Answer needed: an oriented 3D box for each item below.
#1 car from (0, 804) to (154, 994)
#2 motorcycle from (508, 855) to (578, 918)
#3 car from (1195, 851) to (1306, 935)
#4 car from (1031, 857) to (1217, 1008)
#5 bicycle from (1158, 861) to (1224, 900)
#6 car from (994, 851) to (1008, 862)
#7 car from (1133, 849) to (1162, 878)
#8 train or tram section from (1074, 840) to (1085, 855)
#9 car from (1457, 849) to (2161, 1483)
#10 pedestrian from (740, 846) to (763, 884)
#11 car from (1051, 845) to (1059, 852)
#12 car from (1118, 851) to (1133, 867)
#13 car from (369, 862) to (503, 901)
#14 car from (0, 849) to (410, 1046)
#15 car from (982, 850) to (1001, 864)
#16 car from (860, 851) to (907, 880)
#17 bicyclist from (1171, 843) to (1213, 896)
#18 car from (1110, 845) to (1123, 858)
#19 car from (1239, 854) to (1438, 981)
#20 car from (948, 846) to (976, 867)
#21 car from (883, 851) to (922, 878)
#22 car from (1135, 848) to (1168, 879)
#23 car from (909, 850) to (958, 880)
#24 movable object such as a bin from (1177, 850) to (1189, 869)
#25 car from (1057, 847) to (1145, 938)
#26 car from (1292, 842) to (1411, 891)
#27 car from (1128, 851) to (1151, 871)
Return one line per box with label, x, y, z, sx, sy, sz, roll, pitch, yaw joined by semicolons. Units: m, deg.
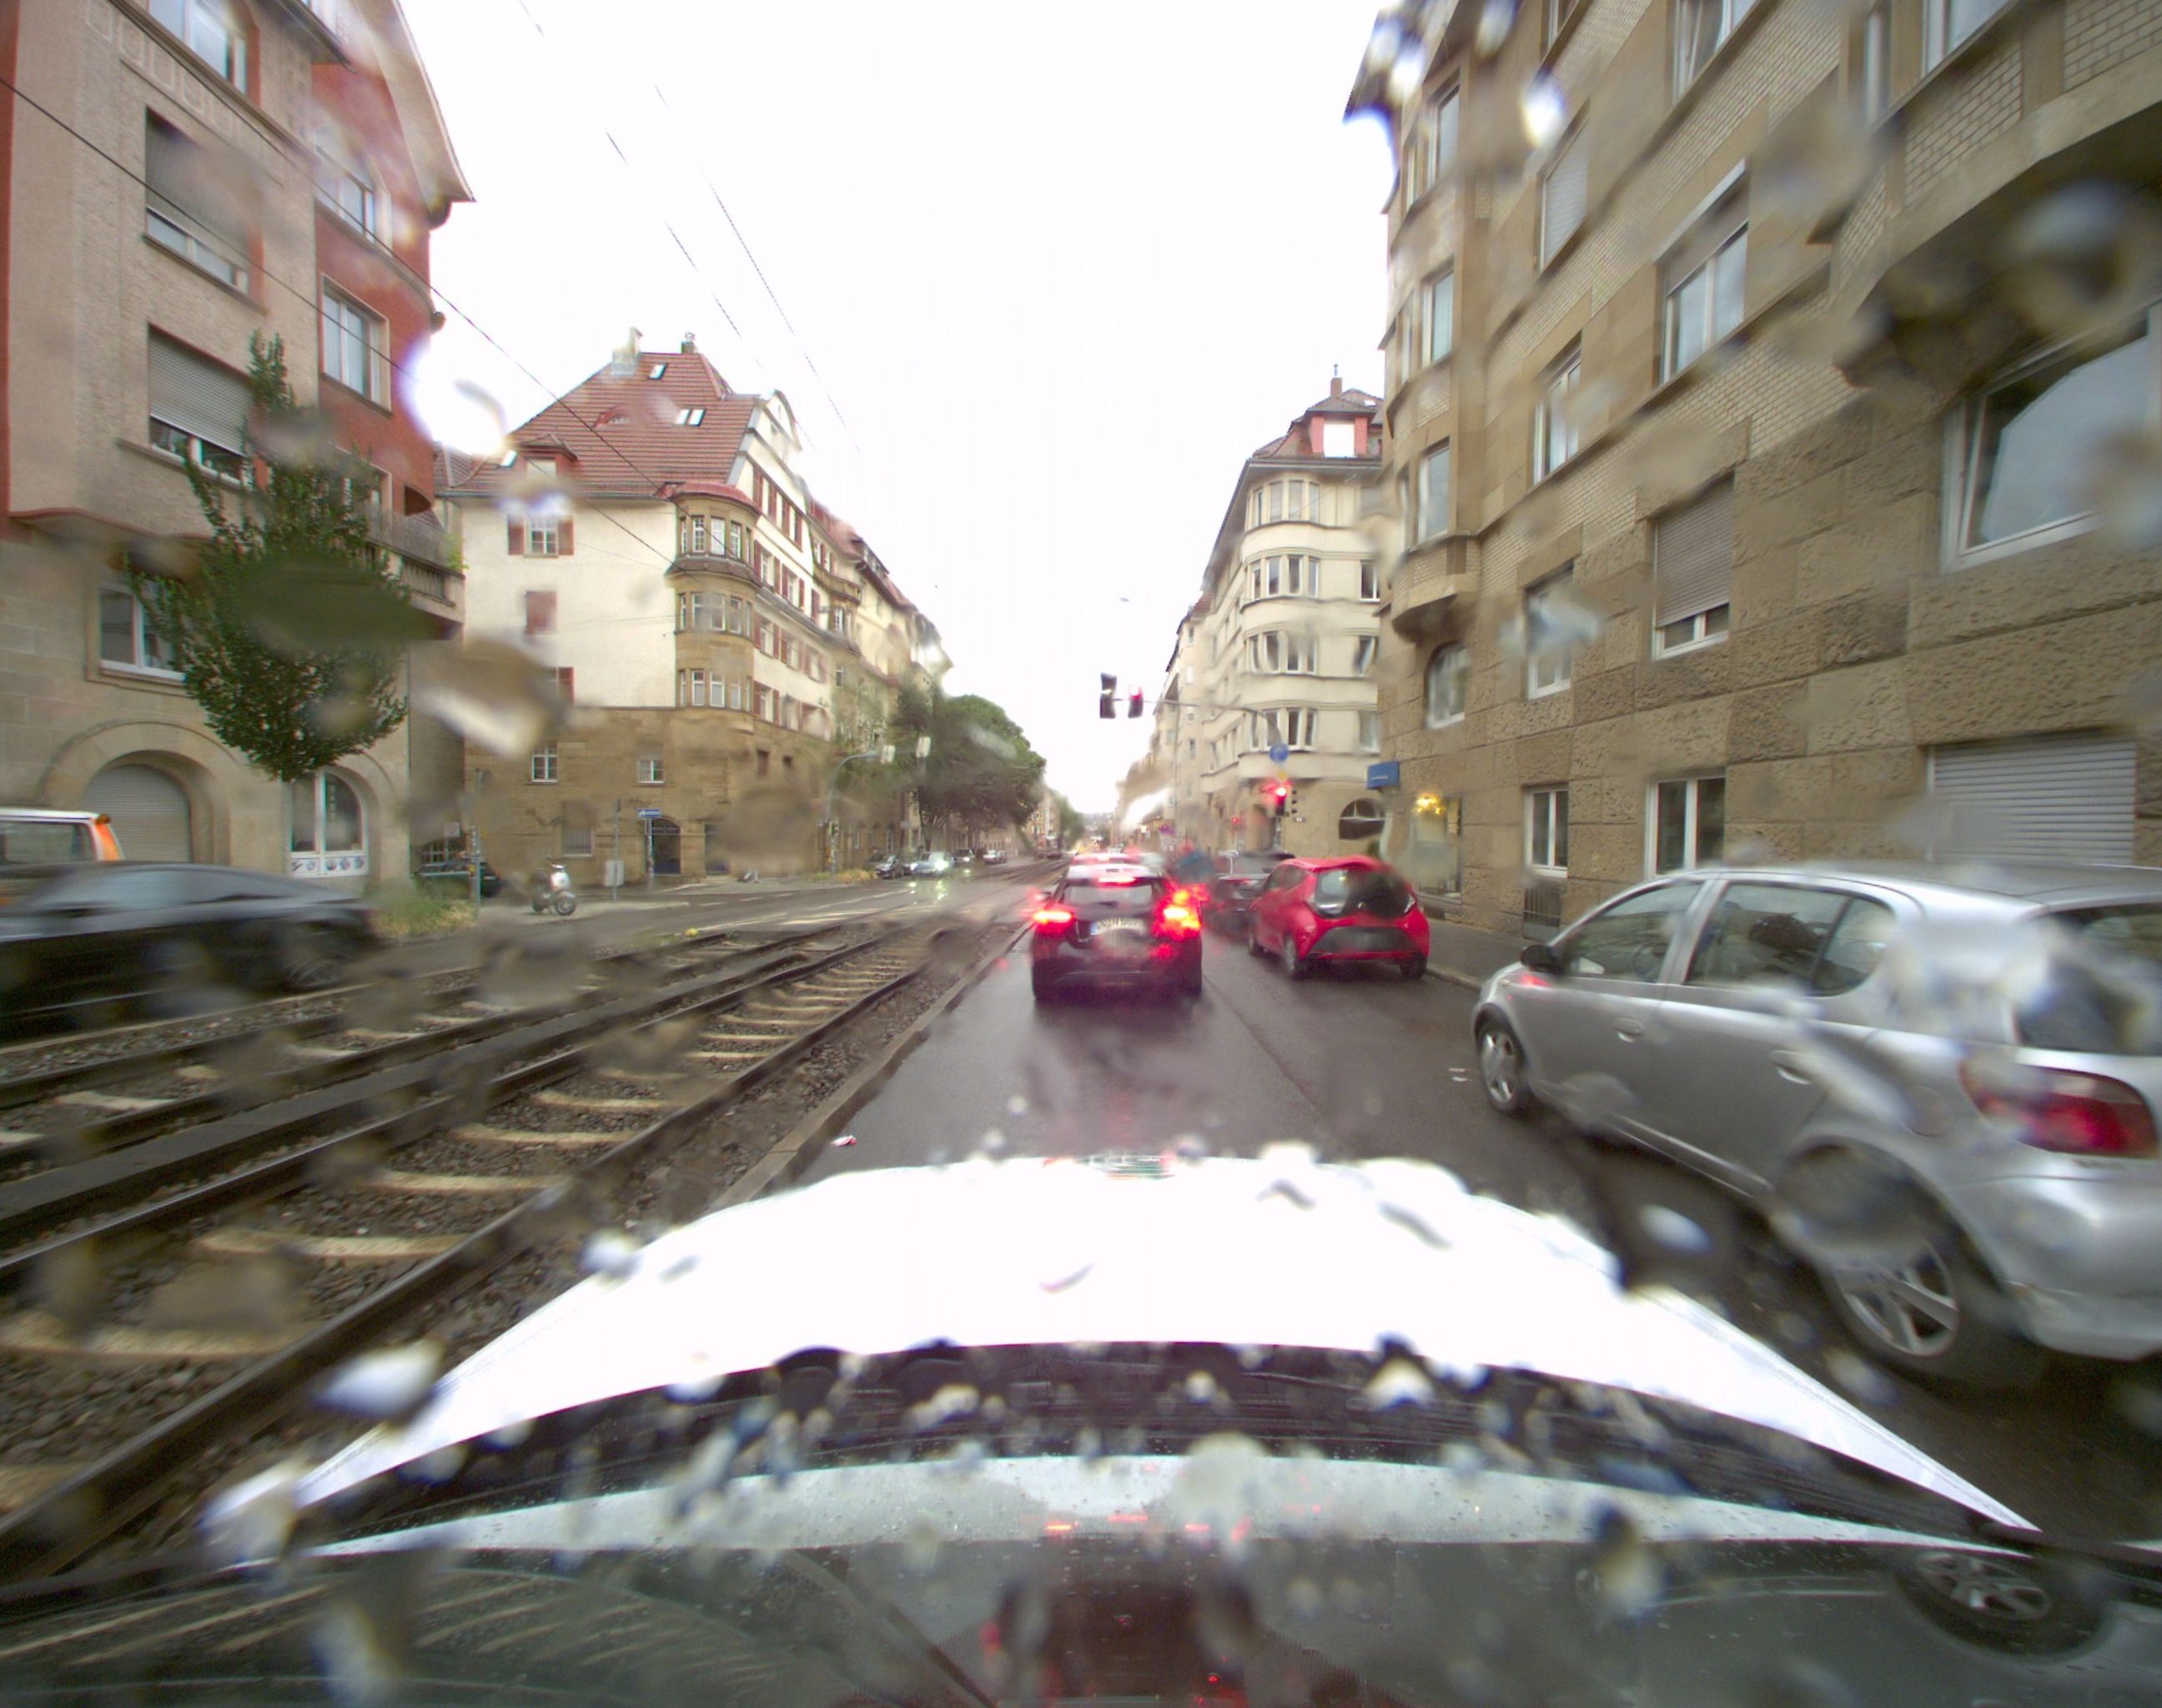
car;-12.105;0.469;7.677;1.725;1.975;4.341;0;-1;0
motorcycle;-12.049;0.715;18.233;1.577;1.365;0.628;-1;-1;28
car;3.261;0.690;16.276;1.539;1.486;3.831;0;0;2
car;0.484;0.781;10.030;1.822;1.458;4.105;0;0;2
bicycle;3.436;0.828;25.545;2.020;1.186;0.828;-1;-1;5
car;-9.776;0.329;99.480;1.443;1.331;3.271;0;-1;0
car;3.861;0.538;47.642;1.539;1.590;3.549;0;0;2
train or tram section;-0.387;-1.768;231.052;2.772;3.861;10.433;0;-1;2
car;3.164;0.738;3.567;1.608;1.467;3.314;-2;0;3
pedestrian;-14.673;0.502;36.296;0.626;1.672;0.706;-1;-1;19
car;-5.167;-1.077;161.651;1.372;1.249;3.297;0;-1;0
car;4.046;0.426;74.140;1.289;1.442;2.930;0;0;2
car;-24.365;1.021;30.876;3.633;1.404;1.699;0;-1;-3
car;-9.200;0.727;7.497;1.796;1.523;4.967;0;0;2
car;-9.846;0.338;90.064;1.583;1.581;3.920;0;-1;2
car;-11.236;0.654;46.584;1.747;1.552;4.033;0;-1;-2
bicyclist;3.466;0.482;25.538;1.243;1.597;0.888;-1;-1;5
car;5.302;-0.329;121.617;1.986;1.876;4.001;0;-1;2
car;3.295;0.733;11.032;1.637;1.448;3.298;0;0;-1
car;-10.576;0.239;72.607;1.868;1.737;3.920;0;-1;2
car;-11.267;0.662;51.619;1.713;1.611;3.914;0;-1;-3
car;3.720;0.493;43.168;1.539;1.590;3.549;0;0;2
car;-8.251;0.595;45.898;1.891;1.588;3.974;0;-1;2
movable object such as a bin;7.493;0.439;60.023;0.873;1.389;0.984;-1;-1;5
car;0.411;0.701;16.426;1.559;1.609;3.815;0;-1;2
car;9.219;0.417;27.965;3.653;1.636;1.553;0;0;7
car;4.435;0.546;62.050;1.539;1.486;3.549;0;0;2
